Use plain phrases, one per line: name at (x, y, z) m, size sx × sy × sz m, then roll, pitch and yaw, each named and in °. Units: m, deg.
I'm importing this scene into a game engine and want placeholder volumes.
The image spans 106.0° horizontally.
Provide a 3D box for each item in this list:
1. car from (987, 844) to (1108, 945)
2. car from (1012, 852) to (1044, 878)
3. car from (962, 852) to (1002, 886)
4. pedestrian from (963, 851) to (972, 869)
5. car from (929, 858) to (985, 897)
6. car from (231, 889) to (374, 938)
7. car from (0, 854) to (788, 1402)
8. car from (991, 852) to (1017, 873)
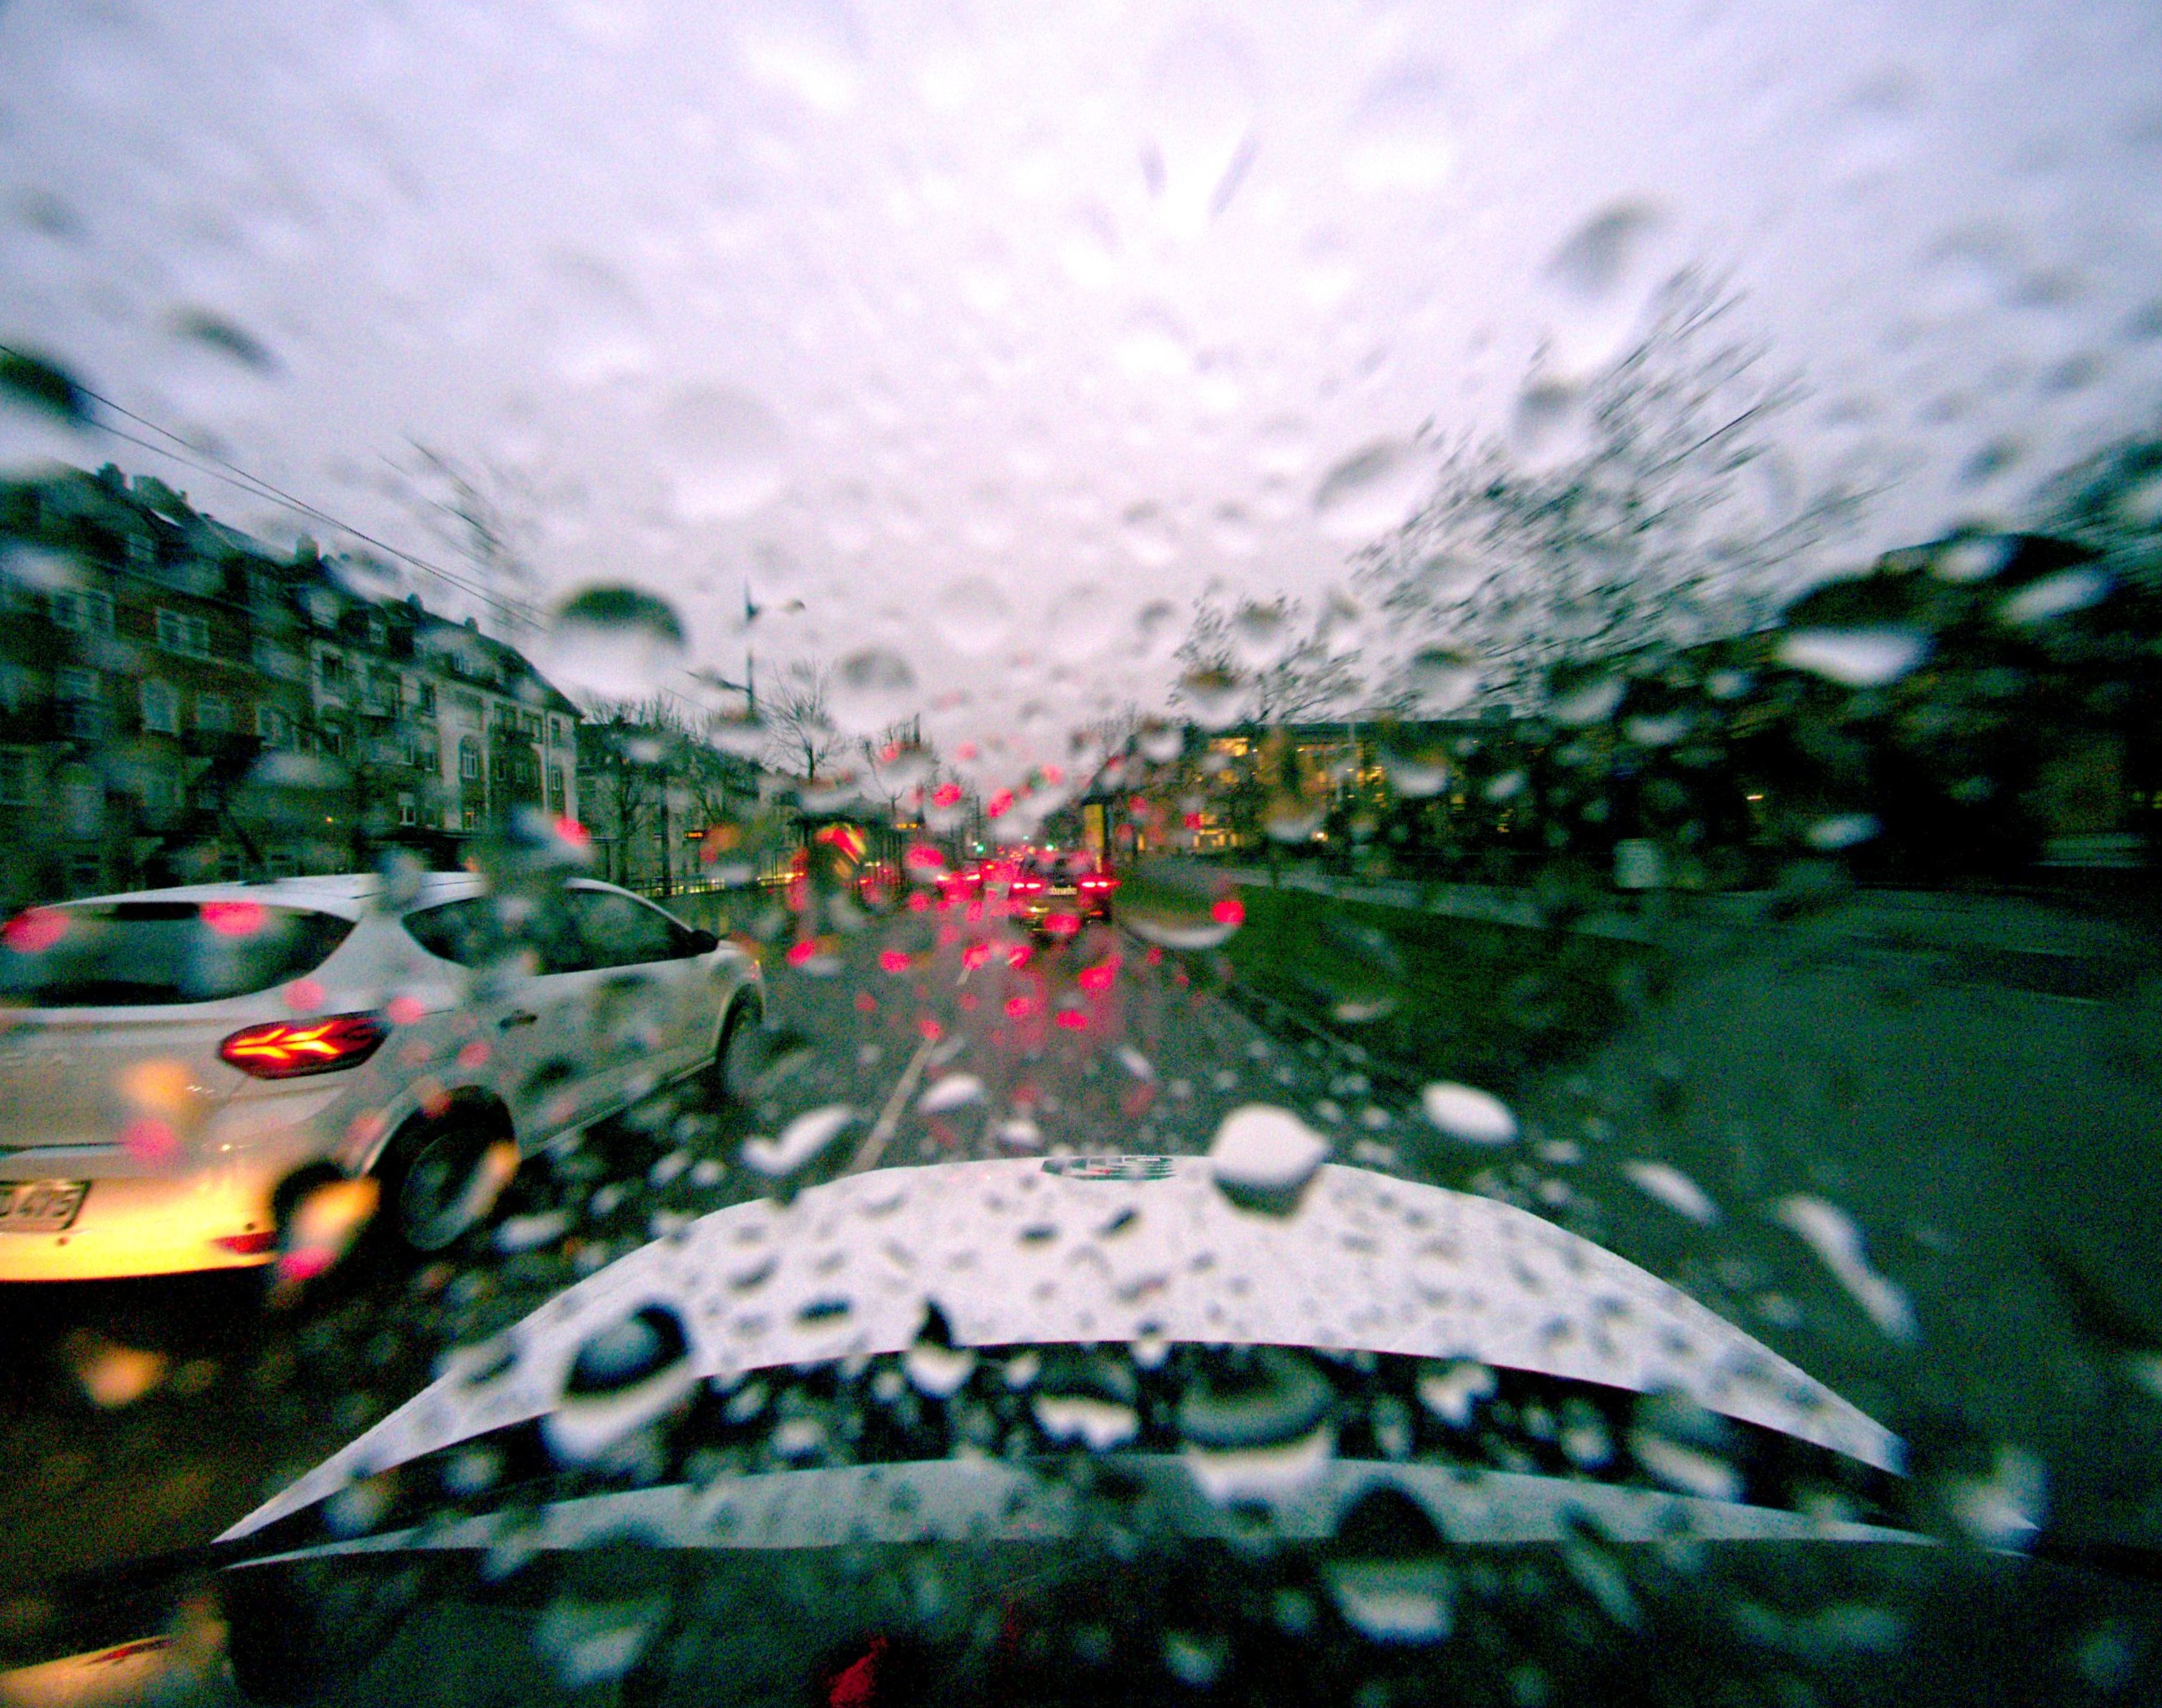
car at (-0.661, 0.679, 15.862) m, size 1.986 × 1.616 × 3.996 m, roll -3°, pitch 0°, yaw -3°
car at (-3.529, 0.701, 54.183) m, size 1.990 × 1.618 × 3.993 m, roll -3°, pitch 0°, yaw -5°
car at (-5.542, 0.805, 46.177) m, size 1.990 × 1.765 × 3.994 m, roll -3°, pitch 0°, yaw -4°
pedestrian at (-10.468, 0.553, 75.008) m, size 0.697 × 1.552 × 0.668 m, roll -3°, pitch 0°, yaw -5°
car at (-5.041, 0.909, 33.649) m, size 1.991 × 1.398 × 3.992 m, roll -3°, pitch 0°, yaw -5°
car at (-24.359, 1.825, 25.641) m, size 1.534 × 1.208 × 3.188 m, roll -3°, pitch 0°, yaw -5°
car at (-3.150, 0.808, 4.330) m, size 1.621 × 1.487 × 4.000 m, roll -3°, pitch 1°, yaw 0°
car at (-6.258, 0.678, 66.695) m, size 1.990 × 1.618 × 3.993 m, roll -3°, pitch 0°, yaw -5°
